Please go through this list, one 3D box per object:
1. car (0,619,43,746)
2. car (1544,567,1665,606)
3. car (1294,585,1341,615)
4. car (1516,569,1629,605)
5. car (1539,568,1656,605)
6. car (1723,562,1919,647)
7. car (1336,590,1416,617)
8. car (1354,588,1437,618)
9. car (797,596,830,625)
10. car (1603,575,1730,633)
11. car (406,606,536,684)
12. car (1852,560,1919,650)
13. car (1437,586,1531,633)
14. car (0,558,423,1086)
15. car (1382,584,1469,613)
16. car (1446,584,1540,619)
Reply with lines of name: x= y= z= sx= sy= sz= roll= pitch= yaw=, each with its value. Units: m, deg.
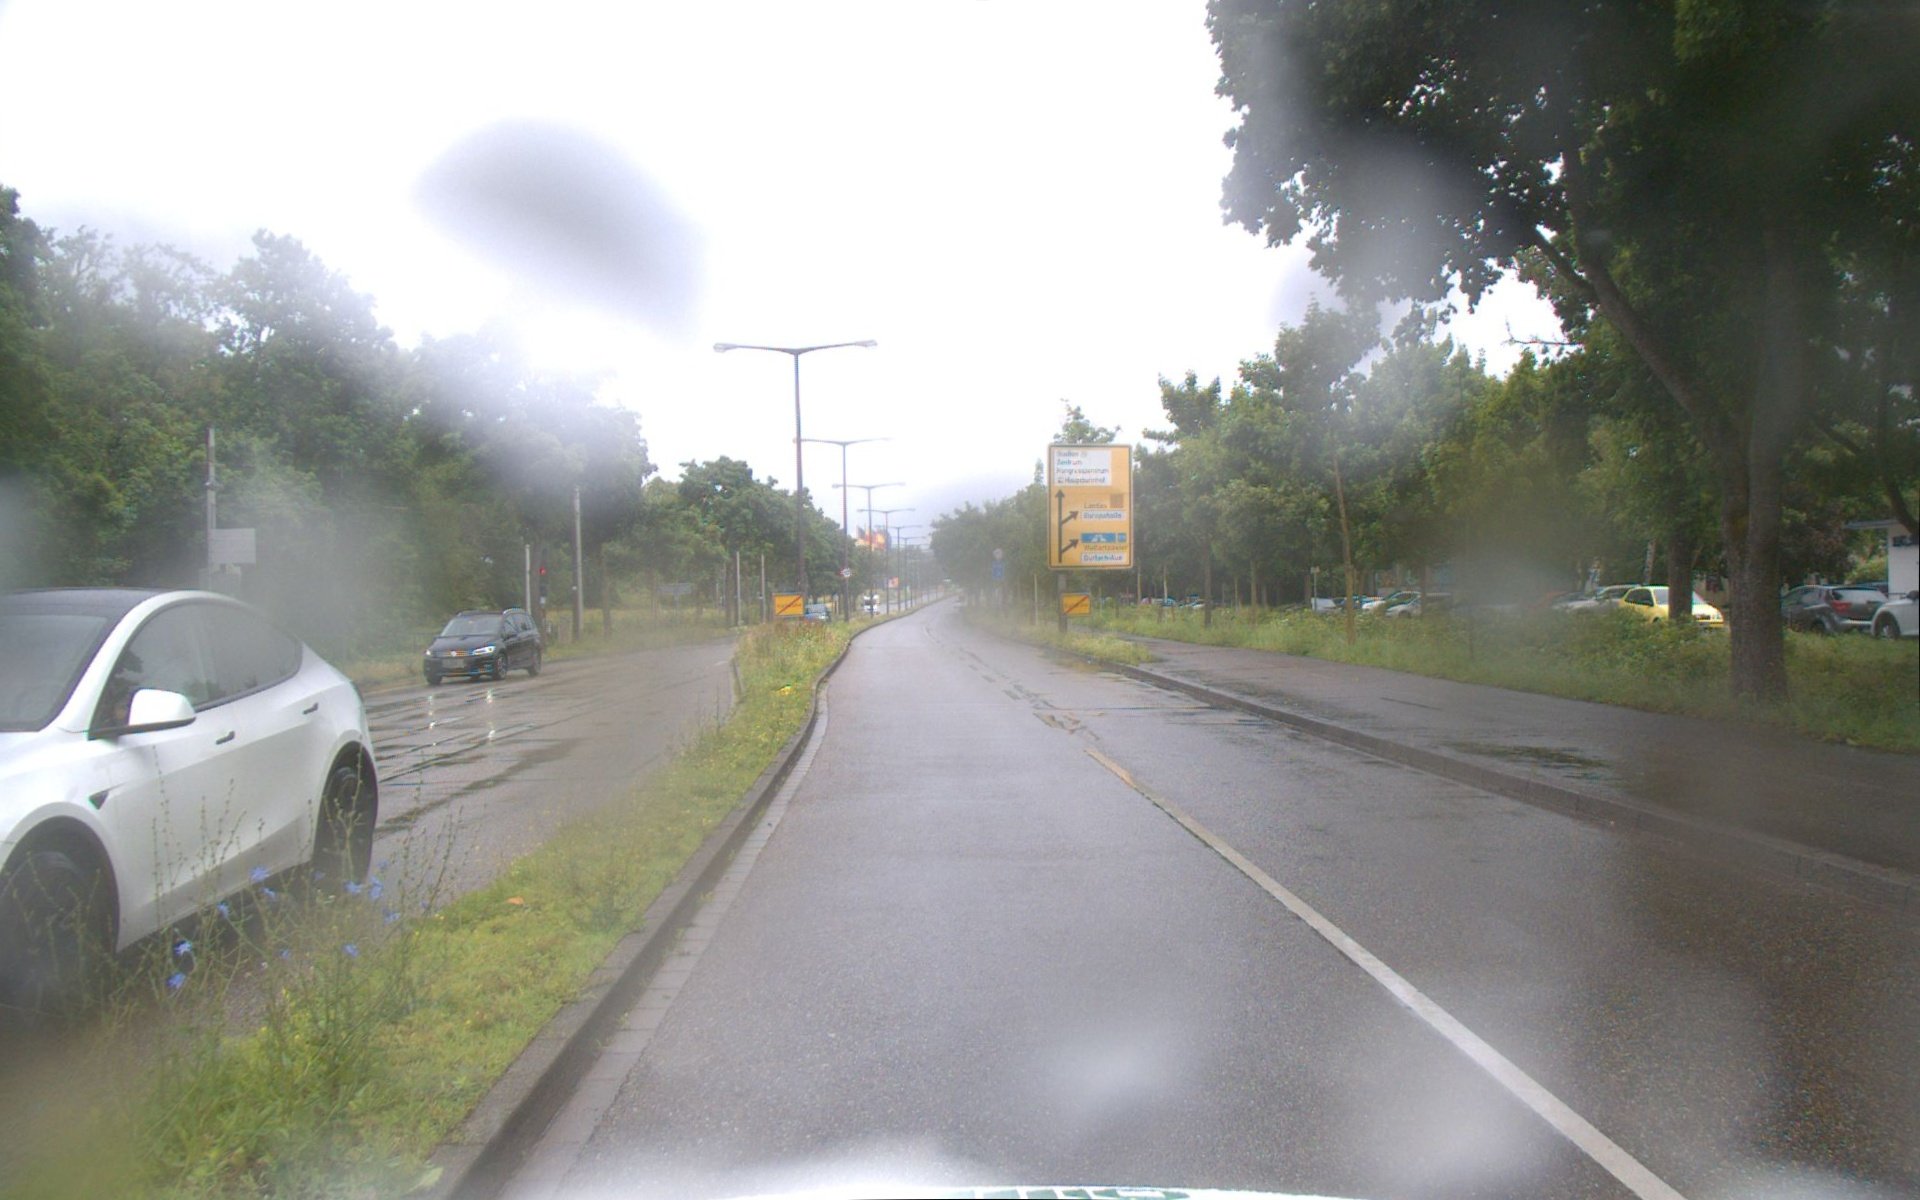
car: x=-15.158 y=1.187 z=22.898 sx=1.951 sy=1.859 sz=4.774 roll=1 pitch=-1 yaw=5
car: x=26.453 y=-0.531 z=67.985 sx=4.249 sy=1.530 sz=1.922 roll=1 pitch=-1 yaw=-4
car: x=19.468 y=0.007 z=90.202 sx=1.708 sy=1.470 sz=4.123 roll=-2 pitch=2 yaw=2
car: x=27.076 y=-0.548 z=73.179 sx=4.249 sy=1.510 sz=1.943 roll=1 pitch=-1 yaw=-4
car: x=27.277 y=-0.568 z=70.823 sx=4.249 sy=1.510 sz=1.943 roll=1 pitch=-1 yaw=-4
car: x=19.511 y=0.110 z=37.605 sx=1.954 sy=1.747 sz=4.639 roll=-2 pitch=0 yaw=-3
car: x=26.042 y=0.227 z=103.572 sx=4.482 sy=1.674 sz=1.997 roll=1 pitch=-1 yaw=-6
car: x=26.522 y=0.207 z=100.796 sx=4.480 sy=1.735 sz=1.998 roll=1 pitch=-1 yaw=-5
car: x=-8.943 y=0.620 z=101.144 sx=1.709 sy=1.679 sz=4.135 roll=-3 pitch=0 yaw=-2
car: x=19.424 y=0.128 z=45.634 sx=1.604 sy=1.512 sz=4.070 roll=1 pitch=-1 yaw=-3
car: x=-11.755 y=1.039 z=40.063 sx=1.671 sy=1.670 sz=4.332 roll=-3 pitch=0 yaw=2
car: x=19.649 y=0.058 z=31.967 sx=1.954 sy=1.747 sz=4.876 roll=-2 pitch=0 yaw=-3
car: x=19.494 y=0.361 z=61.719 sx=1.953 sy=1.654 sz=4.641 roll=-2 pitch=0 yaw=-1
car: x=-3.995 y=0.707 z=7.027 sx=1.921 sy=1.645 sz=4.696 roll=-2 pitch=0 yaw=-1
car: x=26.769 y=-0.074 z=95.226 sx=4.474 sy=1.585 sz=1.946 roll=1 pitch=-1 yaw=2
car: x=27.771 y=0.064 z=86.191 sx=4.249 sy=1.755 sz=1.943 roll=1 pitch=-1 yaw=-4
